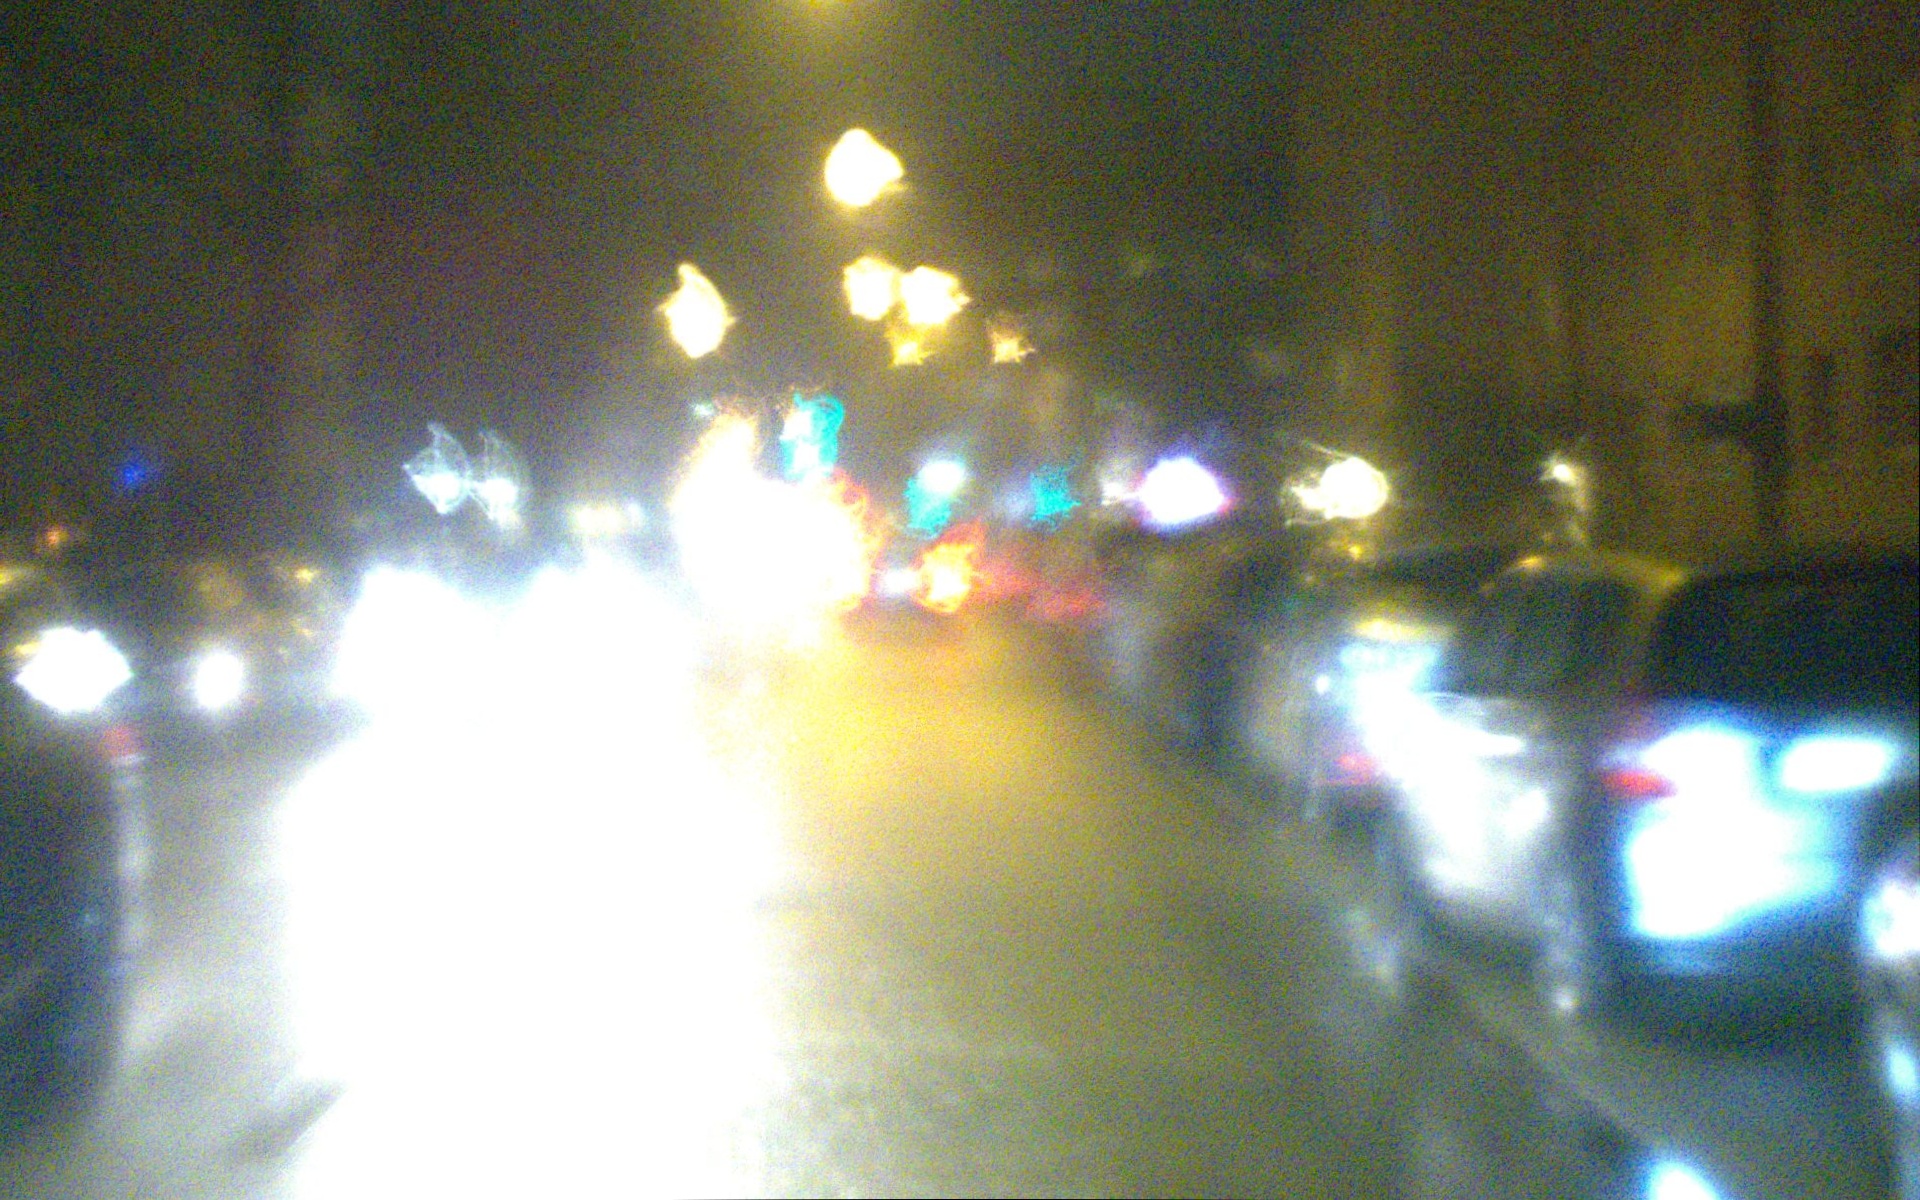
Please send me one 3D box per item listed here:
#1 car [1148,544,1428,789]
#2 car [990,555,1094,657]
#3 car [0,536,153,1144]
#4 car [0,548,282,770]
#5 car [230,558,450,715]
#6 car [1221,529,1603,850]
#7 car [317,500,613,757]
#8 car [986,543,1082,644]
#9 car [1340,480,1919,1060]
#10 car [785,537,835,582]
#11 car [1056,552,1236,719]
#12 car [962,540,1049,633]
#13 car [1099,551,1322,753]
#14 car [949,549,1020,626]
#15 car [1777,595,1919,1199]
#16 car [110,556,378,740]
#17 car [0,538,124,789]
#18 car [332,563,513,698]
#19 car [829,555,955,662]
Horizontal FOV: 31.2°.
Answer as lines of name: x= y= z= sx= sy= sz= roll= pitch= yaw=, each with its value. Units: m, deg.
car: x=2.243 y=0.403 z=24.334 sx=1.535 sy=1.556 sz=3.804 roll=-2 pitch=1 yaw=-1
car: x=1.318 y=0.066 z=56.351 sx=1.535 sy=1.556 sz=3.804 roll=-2 pitch=1 yaw=-1
car: x=-3.187 y=0.575 z=7.447 sx=1.820 sy=1.458 sz=4.866 roll=1 pitch=1 yaw=-1
car: x=-6.318 y=0.397 z=25.937 sx=1.575 sy=1.457 sz=4.000 roll=-4 pitch=1 yaw=-1
car: x=-6.531 y=0.344 z=36.557 sx=1.575 sy=1.457 sz=4.000 roll=-4 pitch=1 yaw=-1
car: x=2.402 y=0.417 z=19.071 sx=1.535 sy=1.556 sz=3.804 roll=-2 pitch=1 yaw=-1
car: x=-3.664 y=0.190 z=26.027 sx=1.689 sy=1.779 sz=4.000 roll=-1 pitch=0 yaw=-1
car: x=1.295 y=-0.146 z=61.441 sx=1.535 sy=1.704 sz=3.804 roll=-2 pitch=1 yaw=-1
car: x=2.512 y=0.458 z=12.098 sx=1.820 sy=1.668 sz=4.000 roll=-2 pitch=1 yaw=-1
car: x=-5.897 y=-1.597 z=135.735 sx=1.812 sy=1.704 sz=3.804 roll=-2 pitch=1 yaw=-1
car: x=1.846 y=0.313 z=34.955 sx=1.535 sy=1.556 sz=3.804 roll=-2 pitch=1 yaw=-1
car: x=0.856 y=-0.283 z=66.638 sx=1.535 sy=1.704 sz=3.804 roll=-2 pitch=1 yaw=-1
car: x=2.070 y=0.390 z=29.282 sx=1.535 sy=1.556 sz=3.804 roll=-2 pitch=1 yaw=-1
car: x=0.551 y=-0.321 z=80.421 sx=1.535 sy=1.704 sz=3.804 roll=-2 pitch=1 yaw=-1
car: x=2.640 y=0.696 z=5.933 sx=1.495 sy=1.383 sz=3.747 roll=-2 pitch=1 yaw=0
car: x=-6.462 y=0.385 z=31.407 sx=1.575 sy=1.457 sz=4.000 roll=-4 pitch=1 yaw=-1
car: x=-6.412 y=0.414 z=21.034 sx=1.575 sy=1.457 sz=4.000 roll=-4 pitch=1 yaw=-1
car: x=-6.571 y=0.333 z=42.378 sx=1.575 sy=1.457 sz=4.000 roll=-4 pitch=1 yaw=-1
car: x=-1.095 y=0.112 z=56.699 sx=1.993 sy=1.678 sz=4.000 roll=0 pitch=1 yaw=0
